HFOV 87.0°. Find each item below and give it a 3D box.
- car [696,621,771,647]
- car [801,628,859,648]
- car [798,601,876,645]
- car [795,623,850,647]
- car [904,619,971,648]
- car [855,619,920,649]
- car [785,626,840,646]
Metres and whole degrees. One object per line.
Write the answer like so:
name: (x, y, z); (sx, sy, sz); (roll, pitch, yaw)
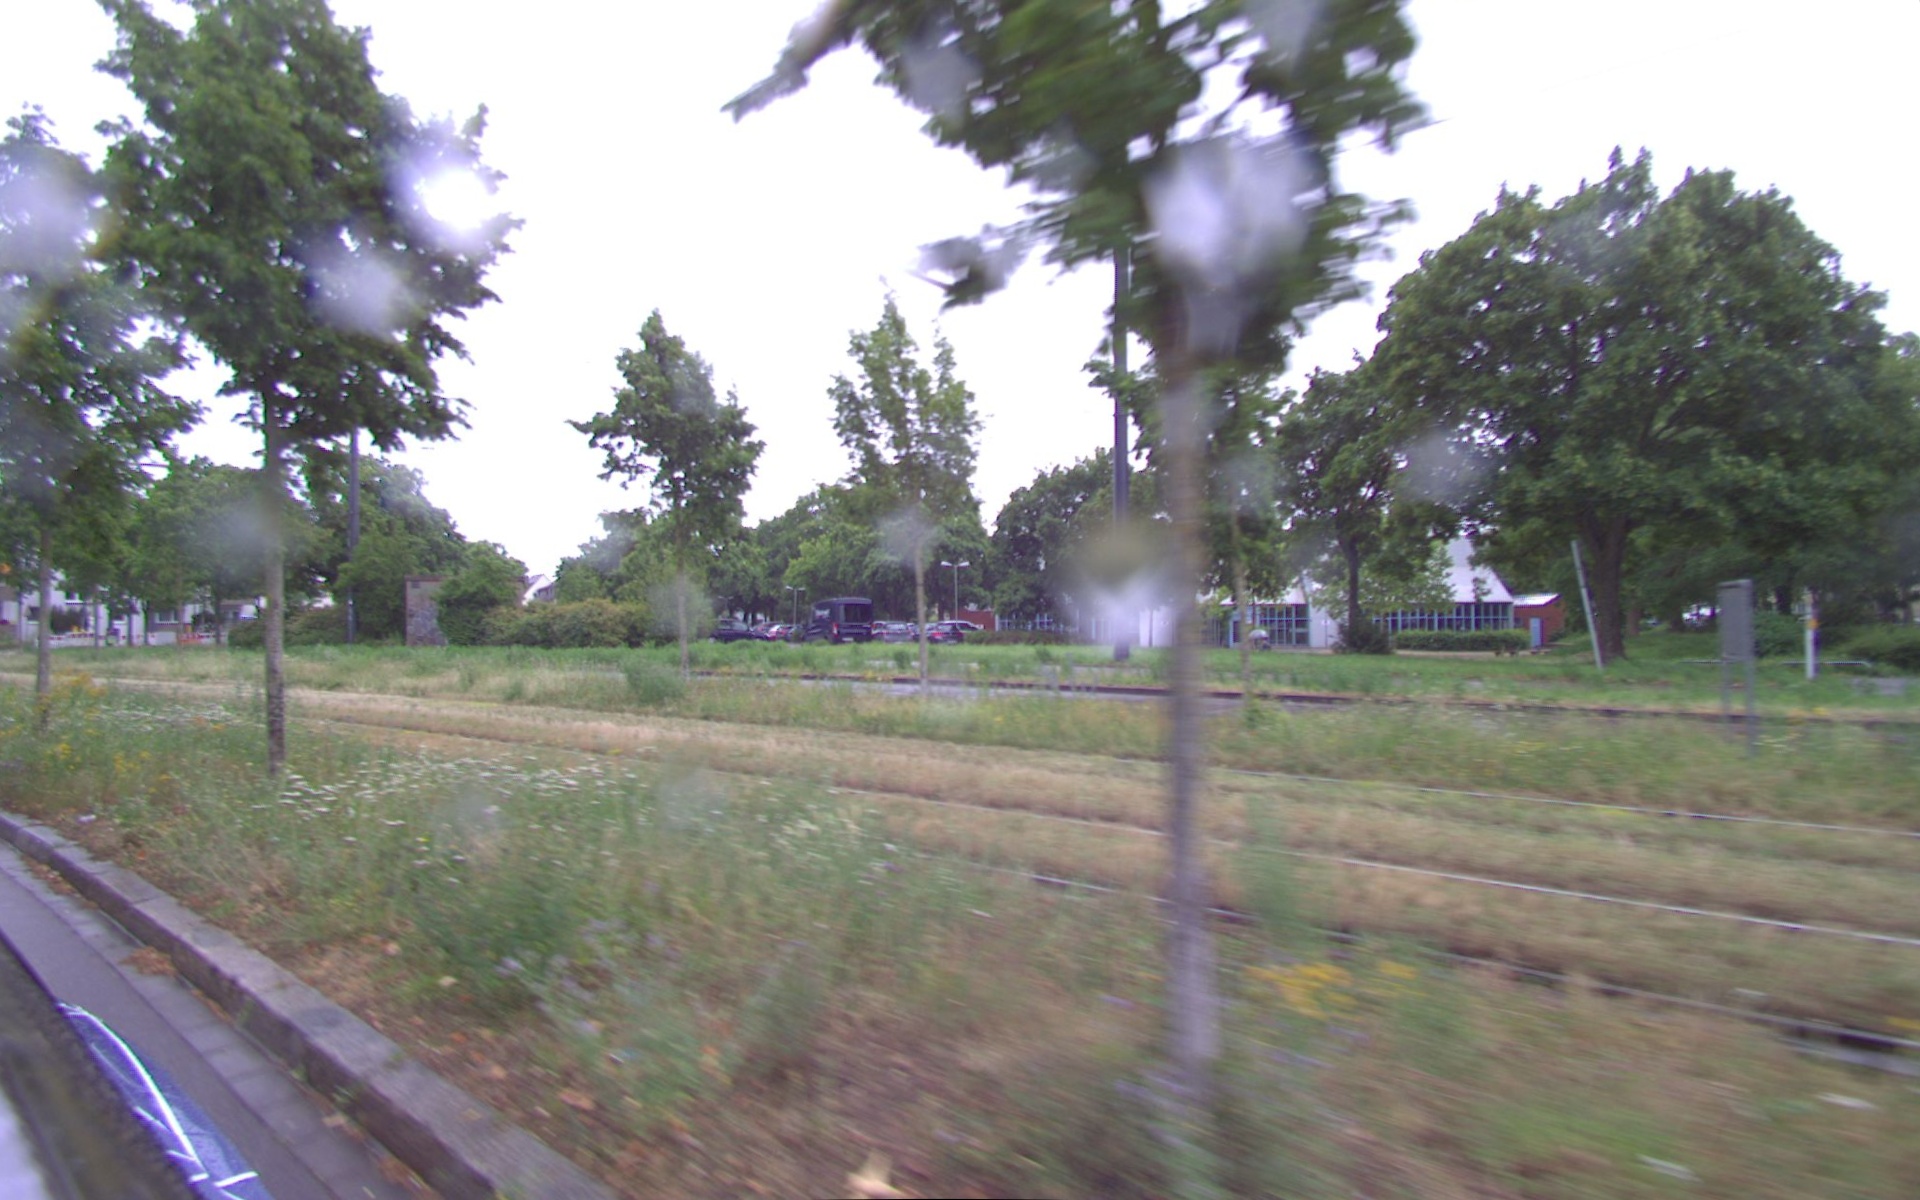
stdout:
car: (-12.875, 1.921, 57.527); (3.991, 1.445, 1.696); (0, -2, -21)
car: (-9.893, 2.847, 77.041); (3.992, 1.445, 1.696); (0, -2, -30)
car: (-5.799, 1.099, 47.140); (2.002, 1.962, 4.729); (1, -2, -28)
car: (-10.816, 2.727, 79.630); (3.992, 1.836, 1.696); (0, -2, -30)
car: (-1.143, 1.652, 49.460); (1.805, 1.349, 4.111); (1, -2, -24)
car: (-3.564, 1.650, 48.749); (1.805, 1.349, 4.111); (1, -2, -24)
car: (-11.918, 2.905, 81.814); (3.992, 1.586, 1.696); (0, -2, -30)
